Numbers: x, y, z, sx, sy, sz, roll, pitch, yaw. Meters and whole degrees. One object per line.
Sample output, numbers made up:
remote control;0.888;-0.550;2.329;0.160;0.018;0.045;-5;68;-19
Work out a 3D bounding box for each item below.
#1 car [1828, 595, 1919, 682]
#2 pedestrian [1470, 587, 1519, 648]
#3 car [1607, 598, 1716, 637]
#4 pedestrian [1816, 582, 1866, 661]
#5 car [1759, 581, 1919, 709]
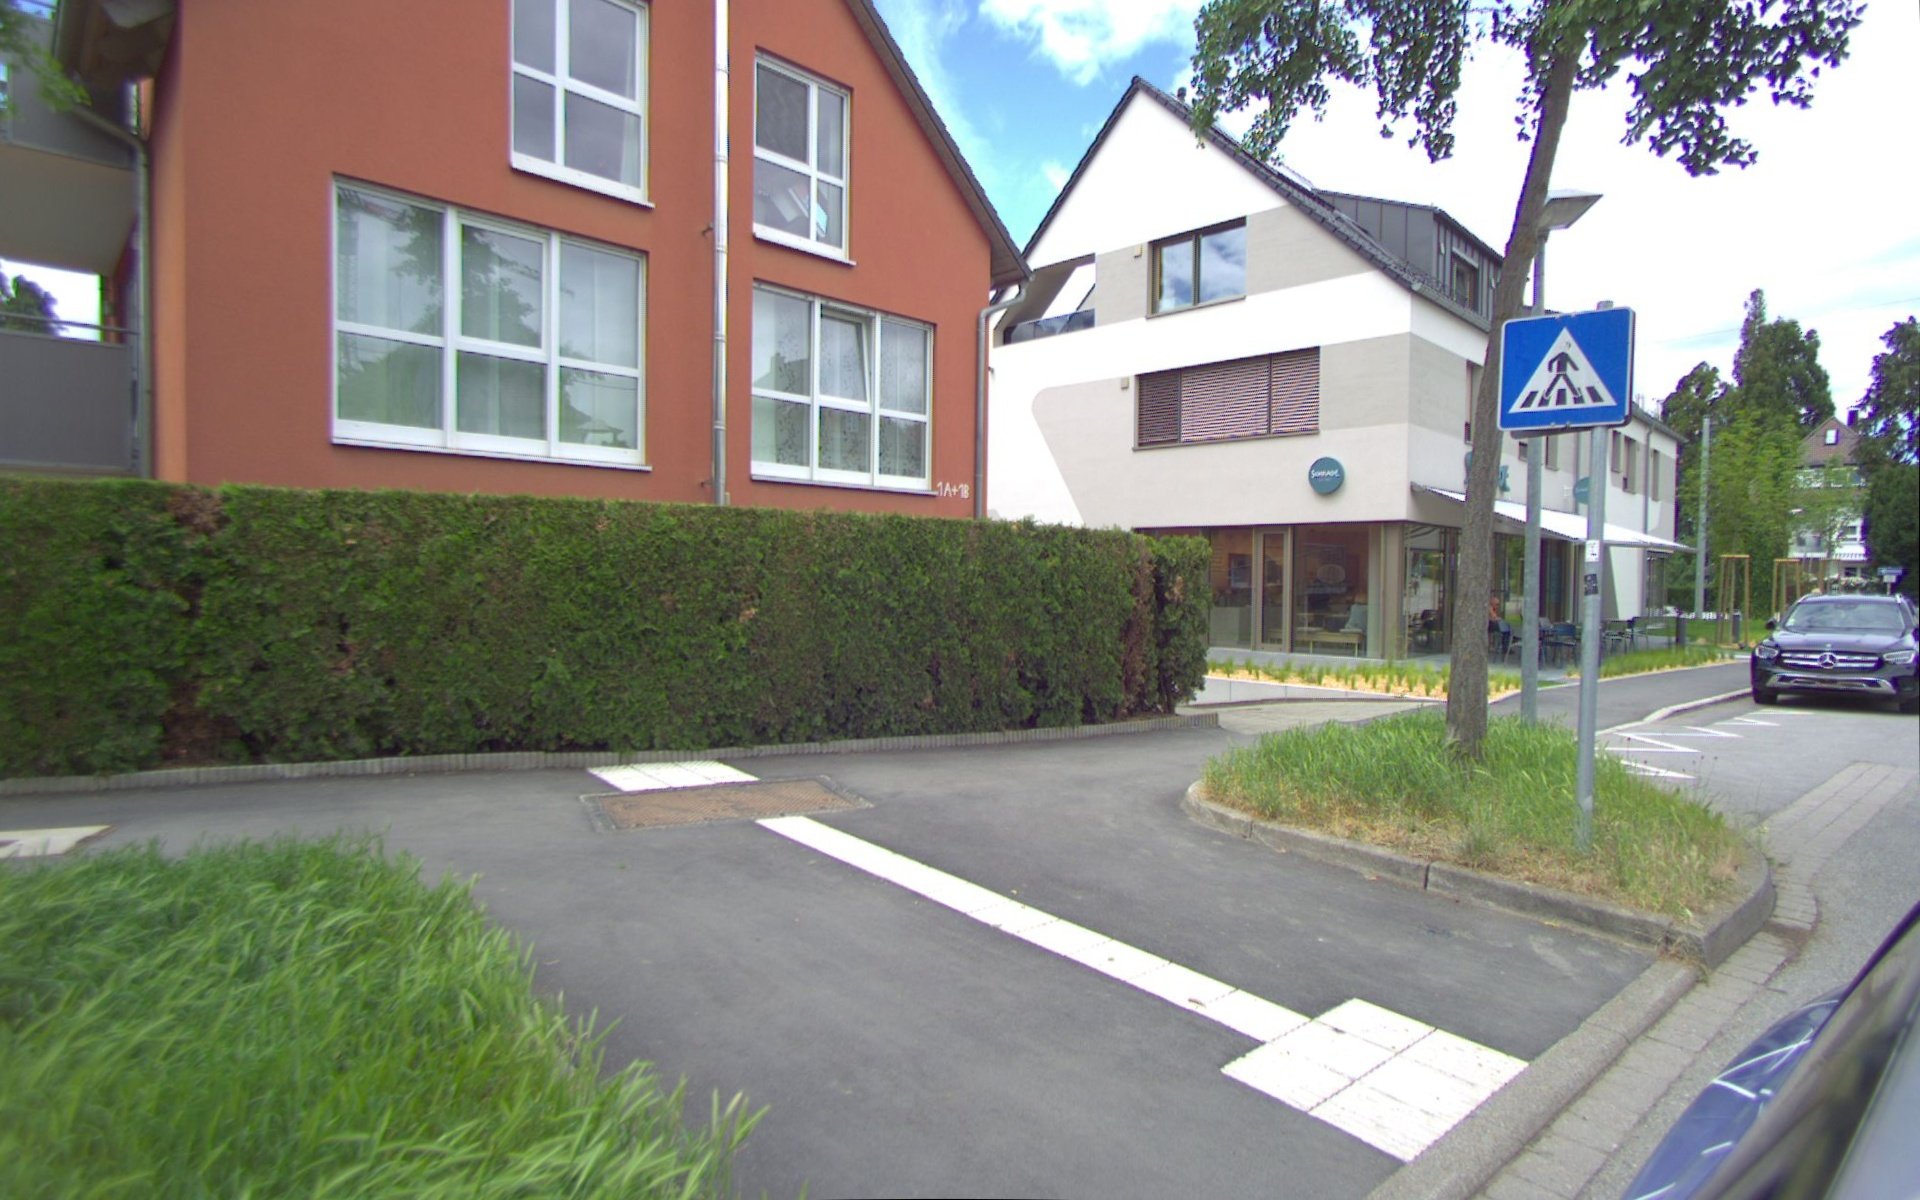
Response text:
car;17.524;0.653;18.742;3.769;1.470;1.709;0;1;-42
pedestrian;11.513;0.366;21.783;0.751;1.253;0.681;2;1;44
car;32.013;0.807;46.253;3.830;1.616;1.847;-4;-2;43
pedestrian;19.289;0.457;22.163;0.648;1.689;0.678;0;2;-40
car;13.500;0.564;15.088;4.390;1.657;1.849;0;1;-43
